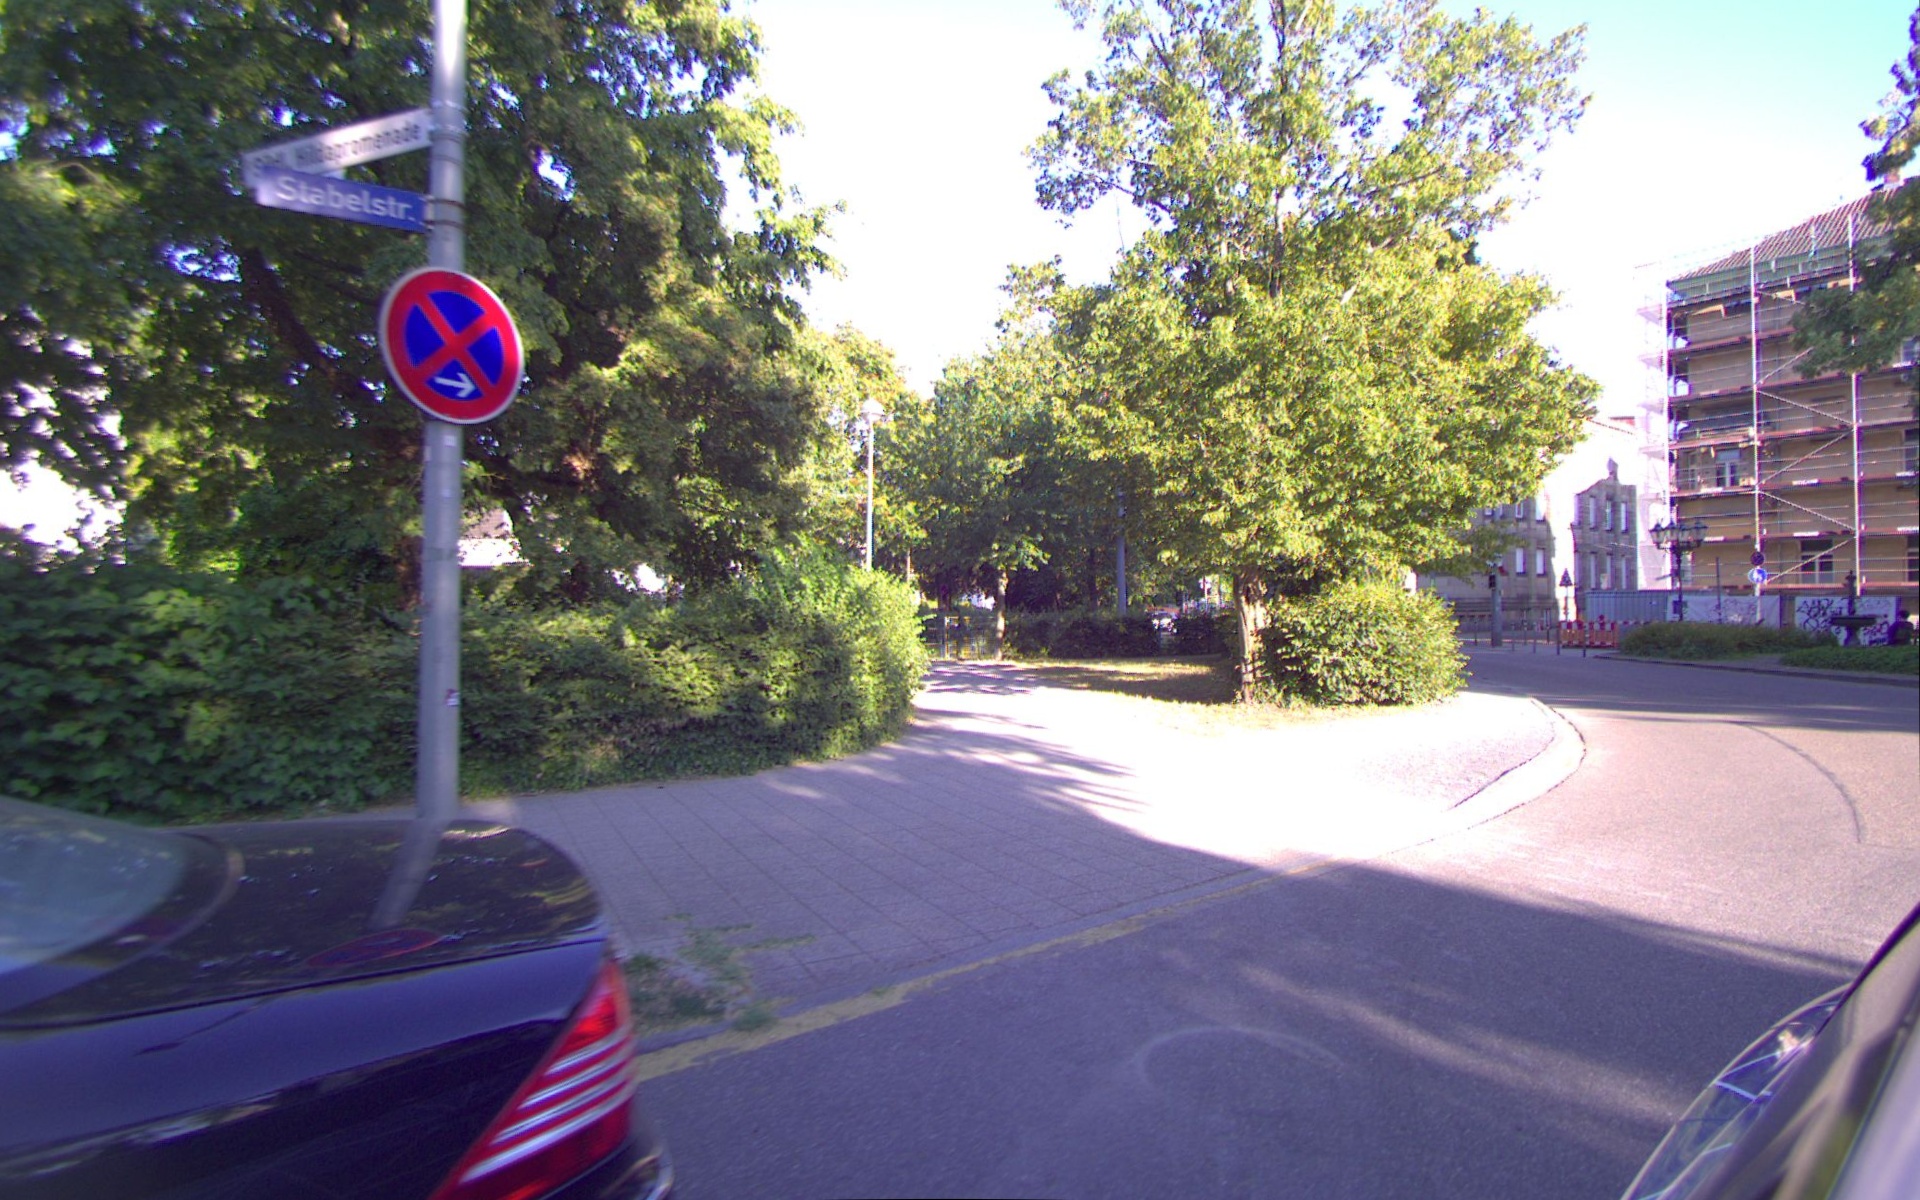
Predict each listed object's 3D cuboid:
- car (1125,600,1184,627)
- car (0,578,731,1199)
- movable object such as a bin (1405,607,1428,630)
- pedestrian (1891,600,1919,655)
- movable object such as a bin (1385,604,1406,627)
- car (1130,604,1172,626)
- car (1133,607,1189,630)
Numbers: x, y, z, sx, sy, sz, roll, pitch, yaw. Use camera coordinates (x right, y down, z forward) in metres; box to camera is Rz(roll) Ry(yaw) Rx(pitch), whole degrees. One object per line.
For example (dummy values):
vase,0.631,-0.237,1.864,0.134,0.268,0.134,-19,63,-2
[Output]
car,16.306,1.125,85.150,4.731,2.023,2.076,2,0,8
car,-2.714,0.736,0.598,4.779,1.487,1.768,0,-1,-40
movable object such as a bin,29.023,1.151,64.397,1.172,1.447,1.908,-1,-1,20
pedestrian,23.376,0.665,24.756,0.545,1.314,0.762,-1,-1,15
movable object such as a bin,28.292,1.008,65.784,1.135,1.505,1.616,-1,-1,20
car,15.584,1.198,82.513,3.355,1.652,1.673,2,0,12
car,14.729,1.374,74.435,3.935,1.566,1.730,2,0,9
